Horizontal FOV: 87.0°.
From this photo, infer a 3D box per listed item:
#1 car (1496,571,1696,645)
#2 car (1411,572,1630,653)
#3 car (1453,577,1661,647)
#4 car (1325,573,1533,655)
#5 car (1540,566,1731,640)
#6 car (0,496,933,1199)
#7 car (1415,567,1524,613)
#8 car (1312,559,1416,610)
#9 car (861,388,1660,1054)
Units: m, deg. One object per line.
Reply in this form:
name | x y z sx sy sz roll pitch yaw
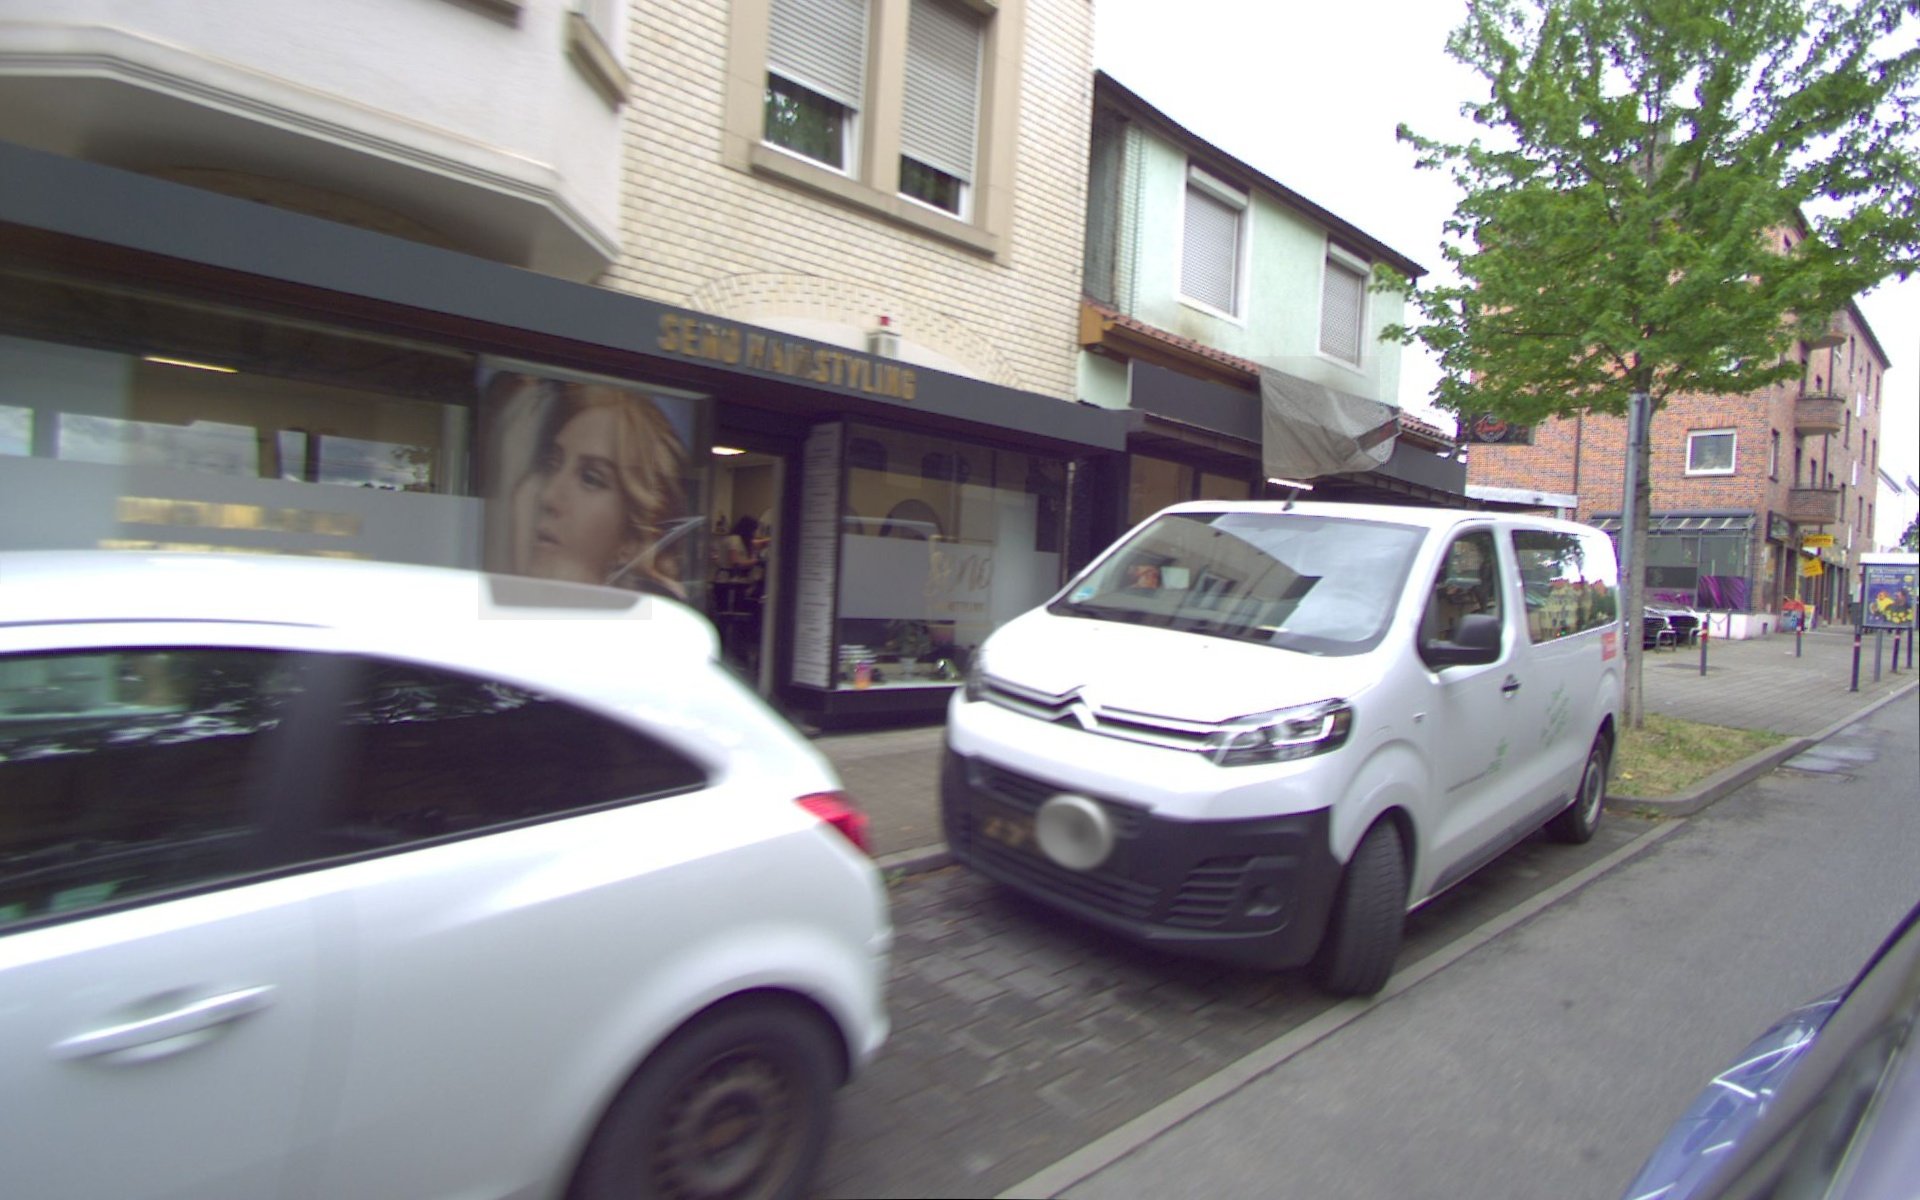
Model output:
car | 15.698 0.139 25.255 1.884 1.694 4.009 -1 1 -15
car | 11.717 0.200 21.519 1.761 1.502 4.054 1 2 -13
car | 13.726 0.228 23.568 1.732 1.484 4.113 0 1 -15
car | 9.416 0.204 20.688 1.668 1.469 3.894 0 2 -16
car | 17.758 0.028 26.846 1.911 1.820 3.946 -1 1 -13
car | -2.118 0.523 1.700 3.972 1.432 1.687 0 4 -42
car | 15.944 -0.330 31.832 1.438 1.380 3.175 0 1 -11
car | 13.524 -0.533 34.111 1.522 1.607 3.632 1 1 -11
car | 1.982 0.280 5.349 1.908 1.953 4.841 5 4 45
